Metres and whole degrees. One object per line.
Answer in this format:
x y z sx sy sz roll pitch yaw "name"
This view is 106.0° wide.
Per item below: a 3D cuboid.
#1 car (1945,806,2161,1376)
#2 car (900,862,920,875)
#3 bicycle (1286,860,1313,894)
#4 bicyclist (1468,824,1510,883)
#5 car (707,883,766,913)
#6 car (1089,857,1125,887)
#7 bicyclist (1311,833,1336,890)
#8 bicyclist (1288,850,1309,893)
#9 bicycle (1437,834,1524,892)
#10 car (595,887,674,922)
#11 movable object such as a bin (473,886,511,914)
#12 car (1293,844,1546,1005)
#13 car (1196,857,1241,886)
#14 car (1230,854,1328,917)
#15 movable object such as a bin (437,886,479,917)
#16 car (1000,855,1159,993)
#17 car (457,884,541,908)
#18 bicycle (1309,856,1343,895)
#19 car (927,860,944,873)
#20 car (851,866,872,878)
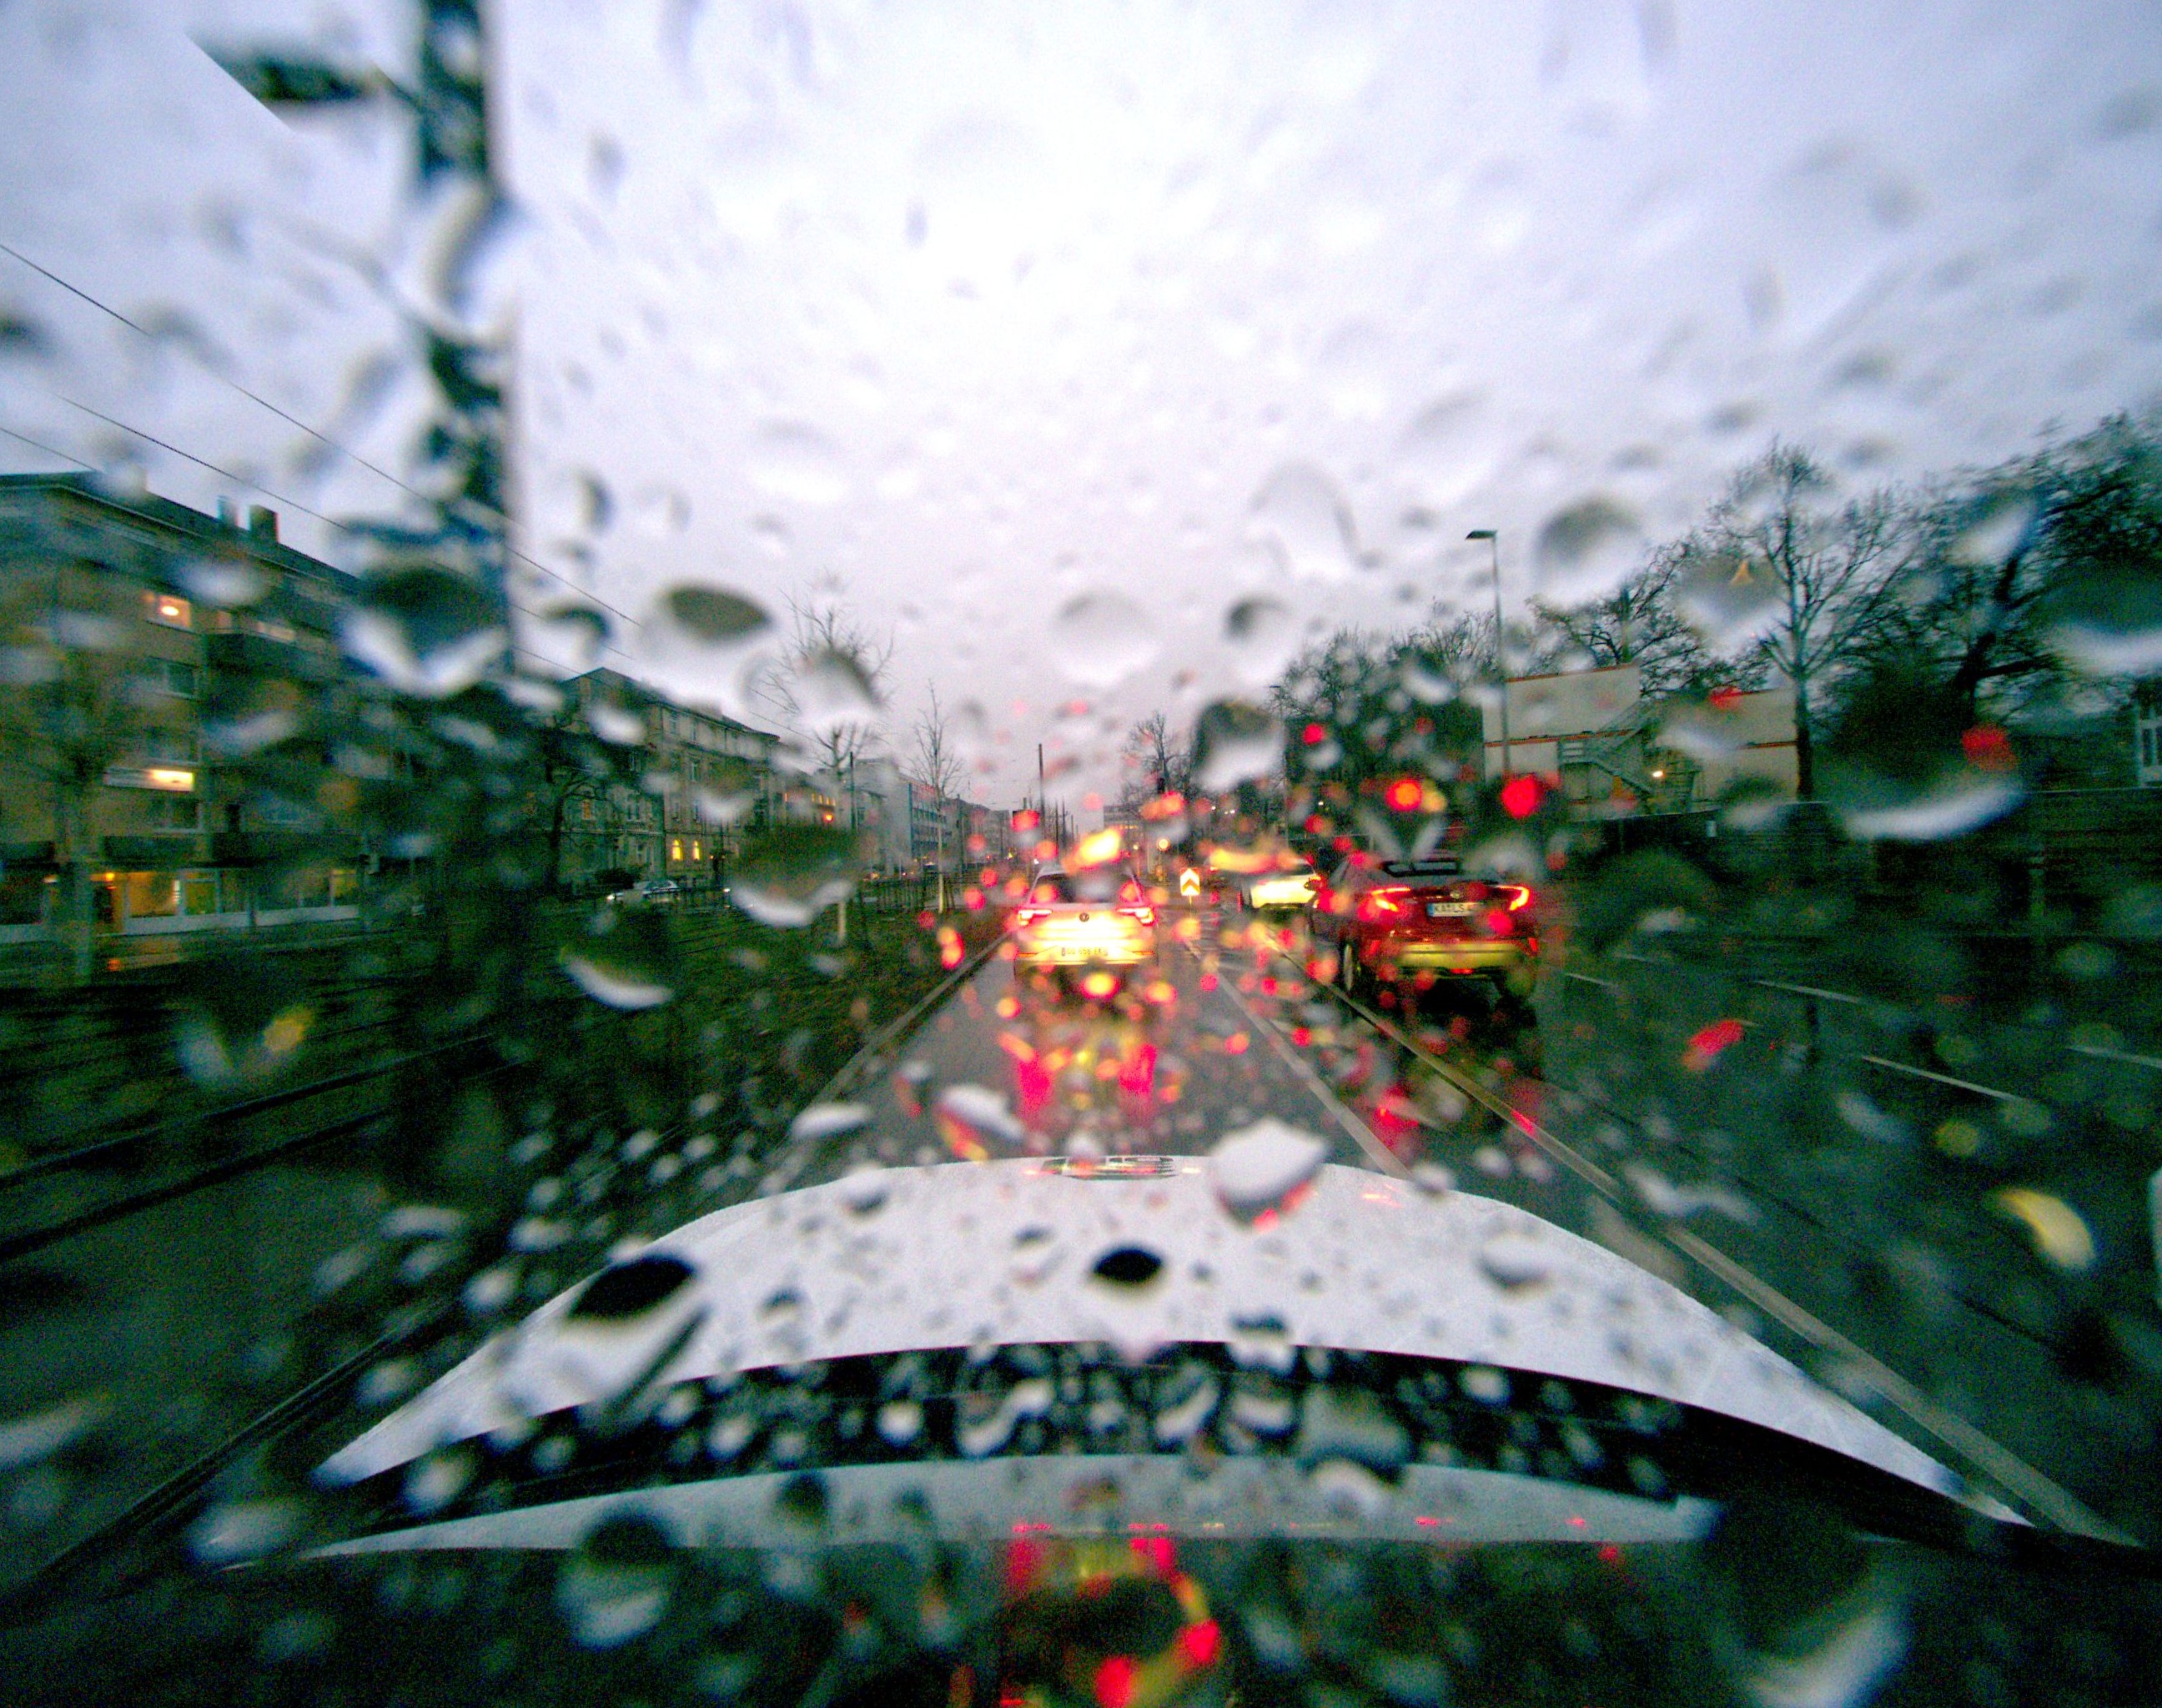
3.563 0.586 0.158 1.778 1.501 4.973 -1 -1 5 "car"
-24.818 2.056 118.309 1.988 1.692 4.109 -3 0 -1 "car"
8.151 0.848 30.426 0.410 1.185 1.947 -2 0 -1 "bicycle"
11.960 -0.014 23.872 0.701 1.679 0.808 -1 -1 -39 "bicyclist"
-20.651 2.609 48.990 1.795 1.585 4.000 0 -1 0 "car"
1.347 0.905 41.629 1.715 1.479 4.002 0 -1 2 "car"
7.821 0.235 26.301 0.498 1.767 0.837 -2 0 -1 "bicyclist"
8.131 0.644 30.441 0.498 1.591 0.837 -2 0 -1 "bicyclist"
11.775 0.273 24.093 0.693 1.657 2.221 1 -1 -39 "bicycle"
-22.872 2.570 41.906 1.795 1.585 4.000 0 -1 0 "car"
-33.593 2.621 46.476 1.105 1.480 1.424 -3 0 -2 "movable object such as a bin"
3.655 0.681 9.565 1.713 1.479 4.007 -1 -1 7 "car"
6.529 0.839 38.874 1.617 1.299 4.002 0 -1 2 "car"
5.033 0.765 21.221 1.715 1.479 4.002 0 -1 2 "car"
-33.852 2.575 44.255 1.105 1.561 1.424 -3 0 -2 "movable object such as a bin"
0.063 0.762 10.847 1.715 1.479 4.002 0 0 2 "car"
-37.377 2.686 52.366 3.975 1.407 1.833 -2 -1 -1 "car"
7.883 0.664 26.228 0.410 1.185 2.028 -2 0 -1 "bicycle"
-24.169 2.059 135.607 1.988 1.933 4.909 -3 0 -1 "car"
-29.990 2.504 111.449 1.801 1.436 3.925 -3 0 -1 "car"
